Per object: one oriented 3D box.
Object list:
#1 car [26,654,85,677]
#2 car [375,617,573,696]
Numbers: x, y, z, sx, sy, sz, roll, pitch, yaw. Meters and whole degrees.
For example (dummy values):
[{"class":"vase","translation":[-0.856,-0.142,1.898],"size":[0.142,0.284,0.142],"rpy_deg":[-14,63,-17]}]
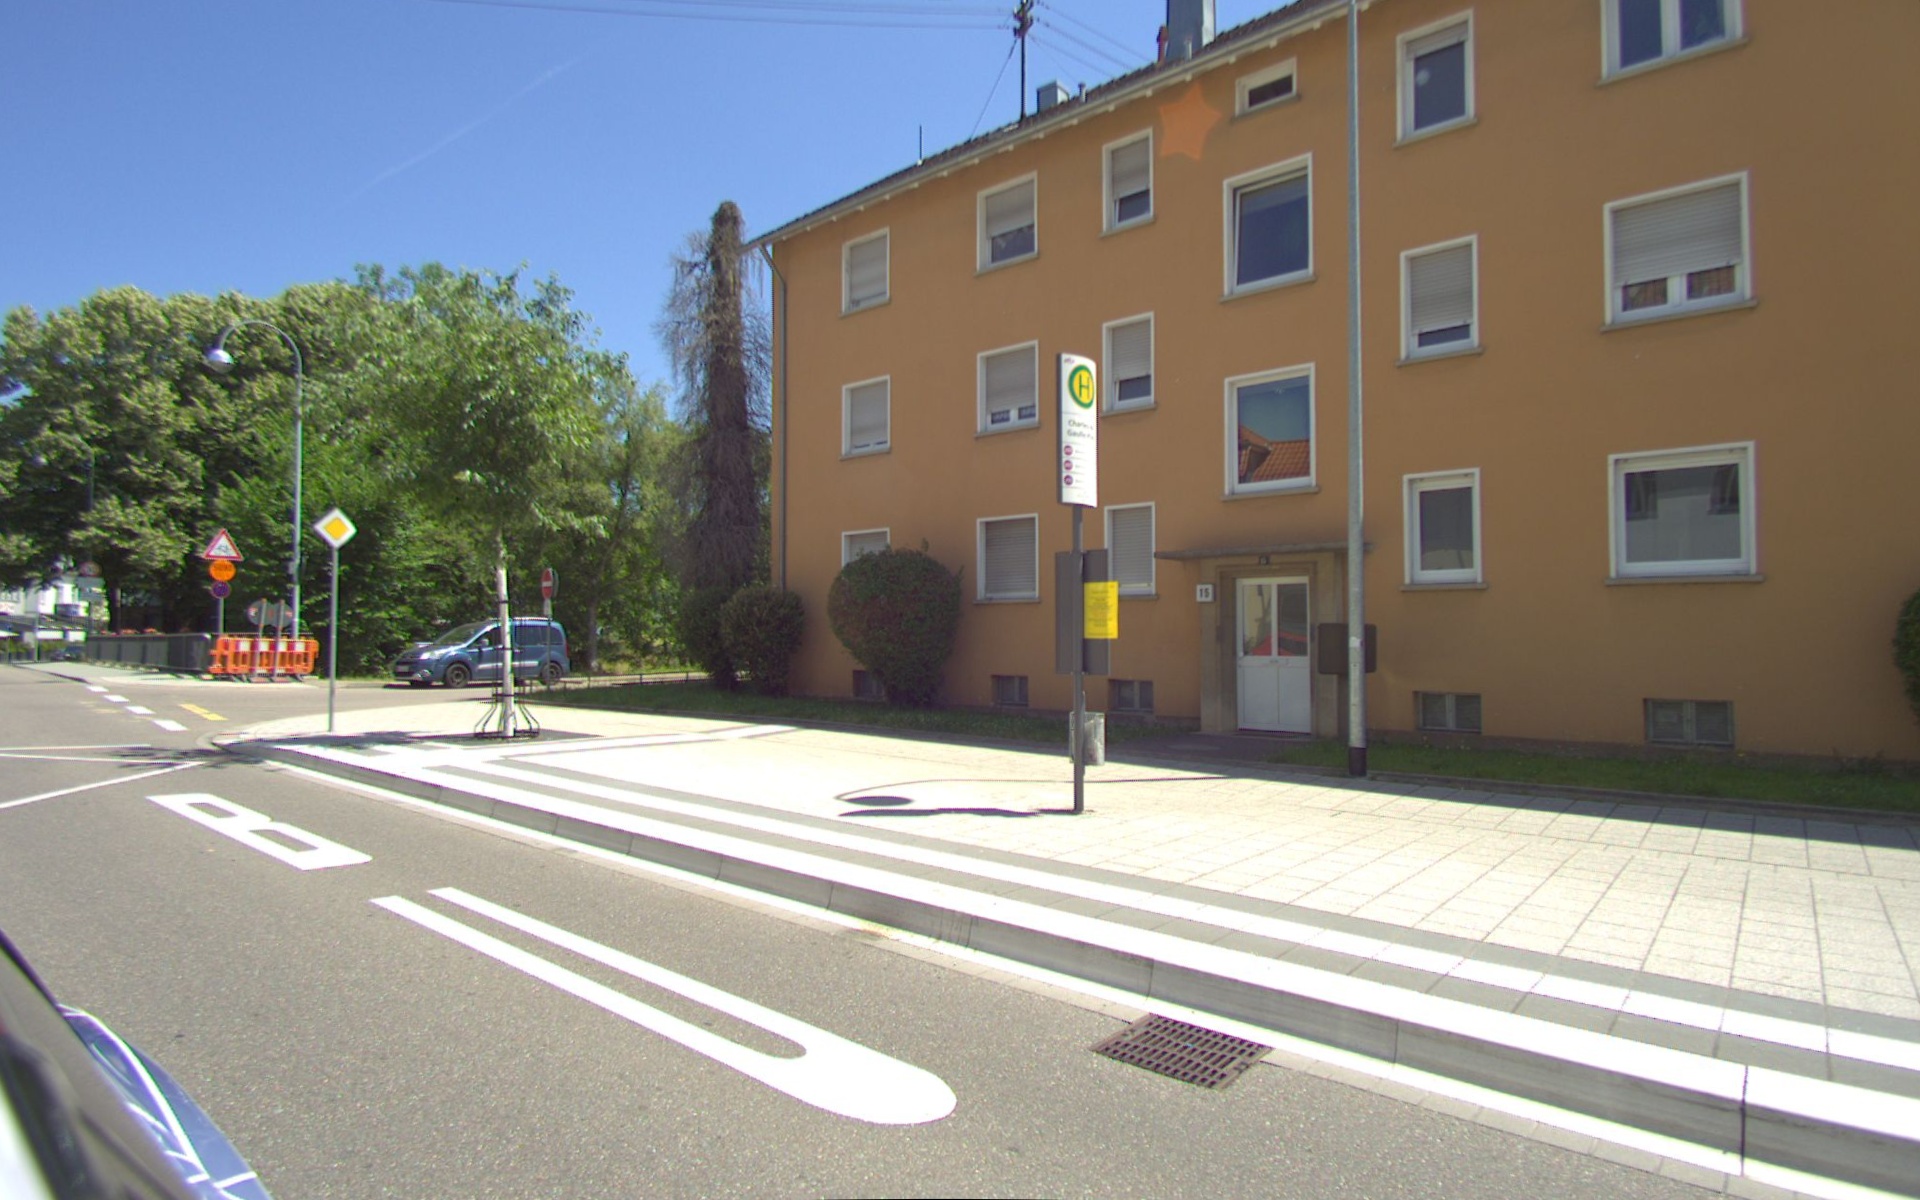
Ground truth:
[{"class":"car","translation":[-71.010,5.156,79.436],"size":[3.976,1.729,1.983],"rpy_deg":[-2,-5,24]},{"class":"car","translation":[-12.617,1.479,26.559],"size":[1.812,1.888,4.392],"rpy_deg":[-1,-4,30]}]
